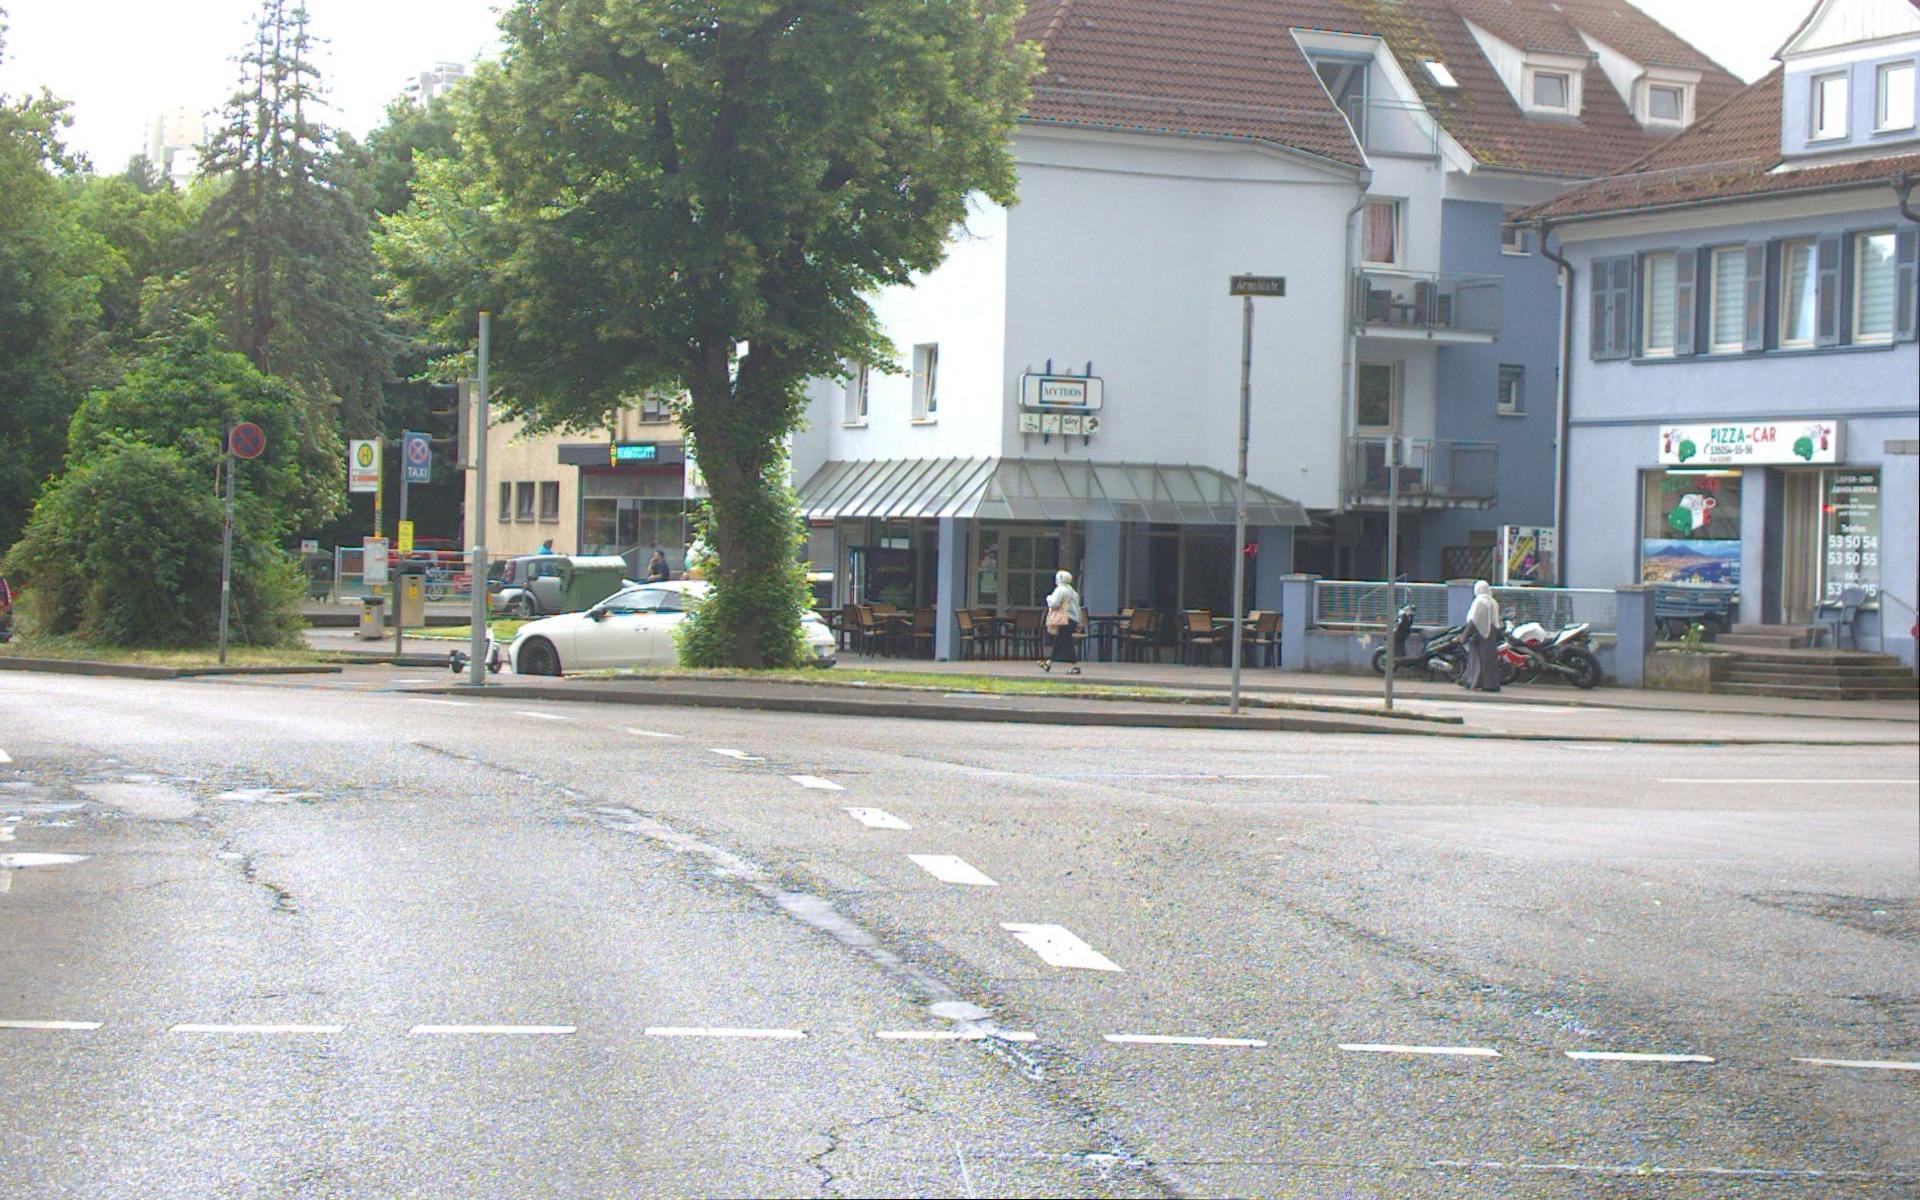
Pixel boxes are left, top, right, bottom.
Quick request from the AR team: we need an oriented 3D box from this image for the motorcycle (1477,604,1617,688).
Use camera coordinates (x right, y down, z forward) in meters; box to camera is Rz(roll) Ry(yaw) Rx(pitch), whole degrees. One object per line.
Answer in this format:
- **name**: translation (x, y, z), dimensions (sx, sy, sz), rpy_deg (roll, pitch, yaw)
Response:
- **motorcycle**: translation (8.257, 0.638, 48.381), dimensions (1.798, 1.118, 0.693), rpy_deg (2, 1, 38)

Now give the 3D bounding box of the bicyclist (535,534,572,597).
- **bicyclist**: translation (-9.983, -0.845, 84.466), dimensions (0.599, 1.536, 0.739), rpy_deg (1, 1, 24)

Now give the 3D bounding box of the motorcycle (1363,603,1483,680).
- **motorcycle**: translation (6.751, 0.600, 50.159), dimensions (1.636, 1.060, 0.693), rpy_deg (2, 1, 44)

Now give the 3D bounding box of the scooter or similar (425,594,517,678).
- **scooter or similar**: translation (-6.060, 0.436, 42.651), dimensions (0.417, 1.008, 1.565), rpy_deg (1, 1, 20)

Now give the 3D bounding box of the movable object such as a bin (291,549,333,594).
- **movable object such as a bin**: translation (-16.244, -0.718, 86.170), dimensions (0.950, 1.111, 0.383), rpy_deg (1, 1, -21)

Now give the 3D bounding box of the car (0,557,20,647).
- **car**: translation (-16.514, -0.006, 53.724), dimensions (3.590, 1.389, 1.469), rpy_deg (2, 1, 32)

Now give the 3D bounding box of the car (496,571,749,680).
- **car**: translation (-4.531, 0.321, 46.044), dimensions (3.171, 1.350, 1.436), rpy_deg (2, 1, 35)

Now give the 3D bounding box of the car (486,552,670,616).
- **car**: translation (-8.424, -0.355, 75.873), dimensions (3.733, 1.340, 1.434), rpy_deg (1, 1, -26)

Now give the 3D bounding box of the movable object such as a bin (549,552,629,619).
- **movable object such as a bin**: translation (-7.981, -0.313, 73.976), dimensions (1.440, 1.404, 0.967), rpy_deg (1, 1, -27)

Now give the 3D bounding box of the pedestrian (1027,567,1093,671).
- **pedestrian**: translation (1.511, 0.284, 51.858), dimensions (0.707, 1.539, 0.677), rpy_deg (2, 1, 40)

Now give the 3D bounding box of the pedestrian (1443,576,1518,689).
- **pedestrian**: translation (7.216, 0.443, 47.654), dimensions (0.768, 1.539, 0.677), rpy_deg (1, 1, 39)
